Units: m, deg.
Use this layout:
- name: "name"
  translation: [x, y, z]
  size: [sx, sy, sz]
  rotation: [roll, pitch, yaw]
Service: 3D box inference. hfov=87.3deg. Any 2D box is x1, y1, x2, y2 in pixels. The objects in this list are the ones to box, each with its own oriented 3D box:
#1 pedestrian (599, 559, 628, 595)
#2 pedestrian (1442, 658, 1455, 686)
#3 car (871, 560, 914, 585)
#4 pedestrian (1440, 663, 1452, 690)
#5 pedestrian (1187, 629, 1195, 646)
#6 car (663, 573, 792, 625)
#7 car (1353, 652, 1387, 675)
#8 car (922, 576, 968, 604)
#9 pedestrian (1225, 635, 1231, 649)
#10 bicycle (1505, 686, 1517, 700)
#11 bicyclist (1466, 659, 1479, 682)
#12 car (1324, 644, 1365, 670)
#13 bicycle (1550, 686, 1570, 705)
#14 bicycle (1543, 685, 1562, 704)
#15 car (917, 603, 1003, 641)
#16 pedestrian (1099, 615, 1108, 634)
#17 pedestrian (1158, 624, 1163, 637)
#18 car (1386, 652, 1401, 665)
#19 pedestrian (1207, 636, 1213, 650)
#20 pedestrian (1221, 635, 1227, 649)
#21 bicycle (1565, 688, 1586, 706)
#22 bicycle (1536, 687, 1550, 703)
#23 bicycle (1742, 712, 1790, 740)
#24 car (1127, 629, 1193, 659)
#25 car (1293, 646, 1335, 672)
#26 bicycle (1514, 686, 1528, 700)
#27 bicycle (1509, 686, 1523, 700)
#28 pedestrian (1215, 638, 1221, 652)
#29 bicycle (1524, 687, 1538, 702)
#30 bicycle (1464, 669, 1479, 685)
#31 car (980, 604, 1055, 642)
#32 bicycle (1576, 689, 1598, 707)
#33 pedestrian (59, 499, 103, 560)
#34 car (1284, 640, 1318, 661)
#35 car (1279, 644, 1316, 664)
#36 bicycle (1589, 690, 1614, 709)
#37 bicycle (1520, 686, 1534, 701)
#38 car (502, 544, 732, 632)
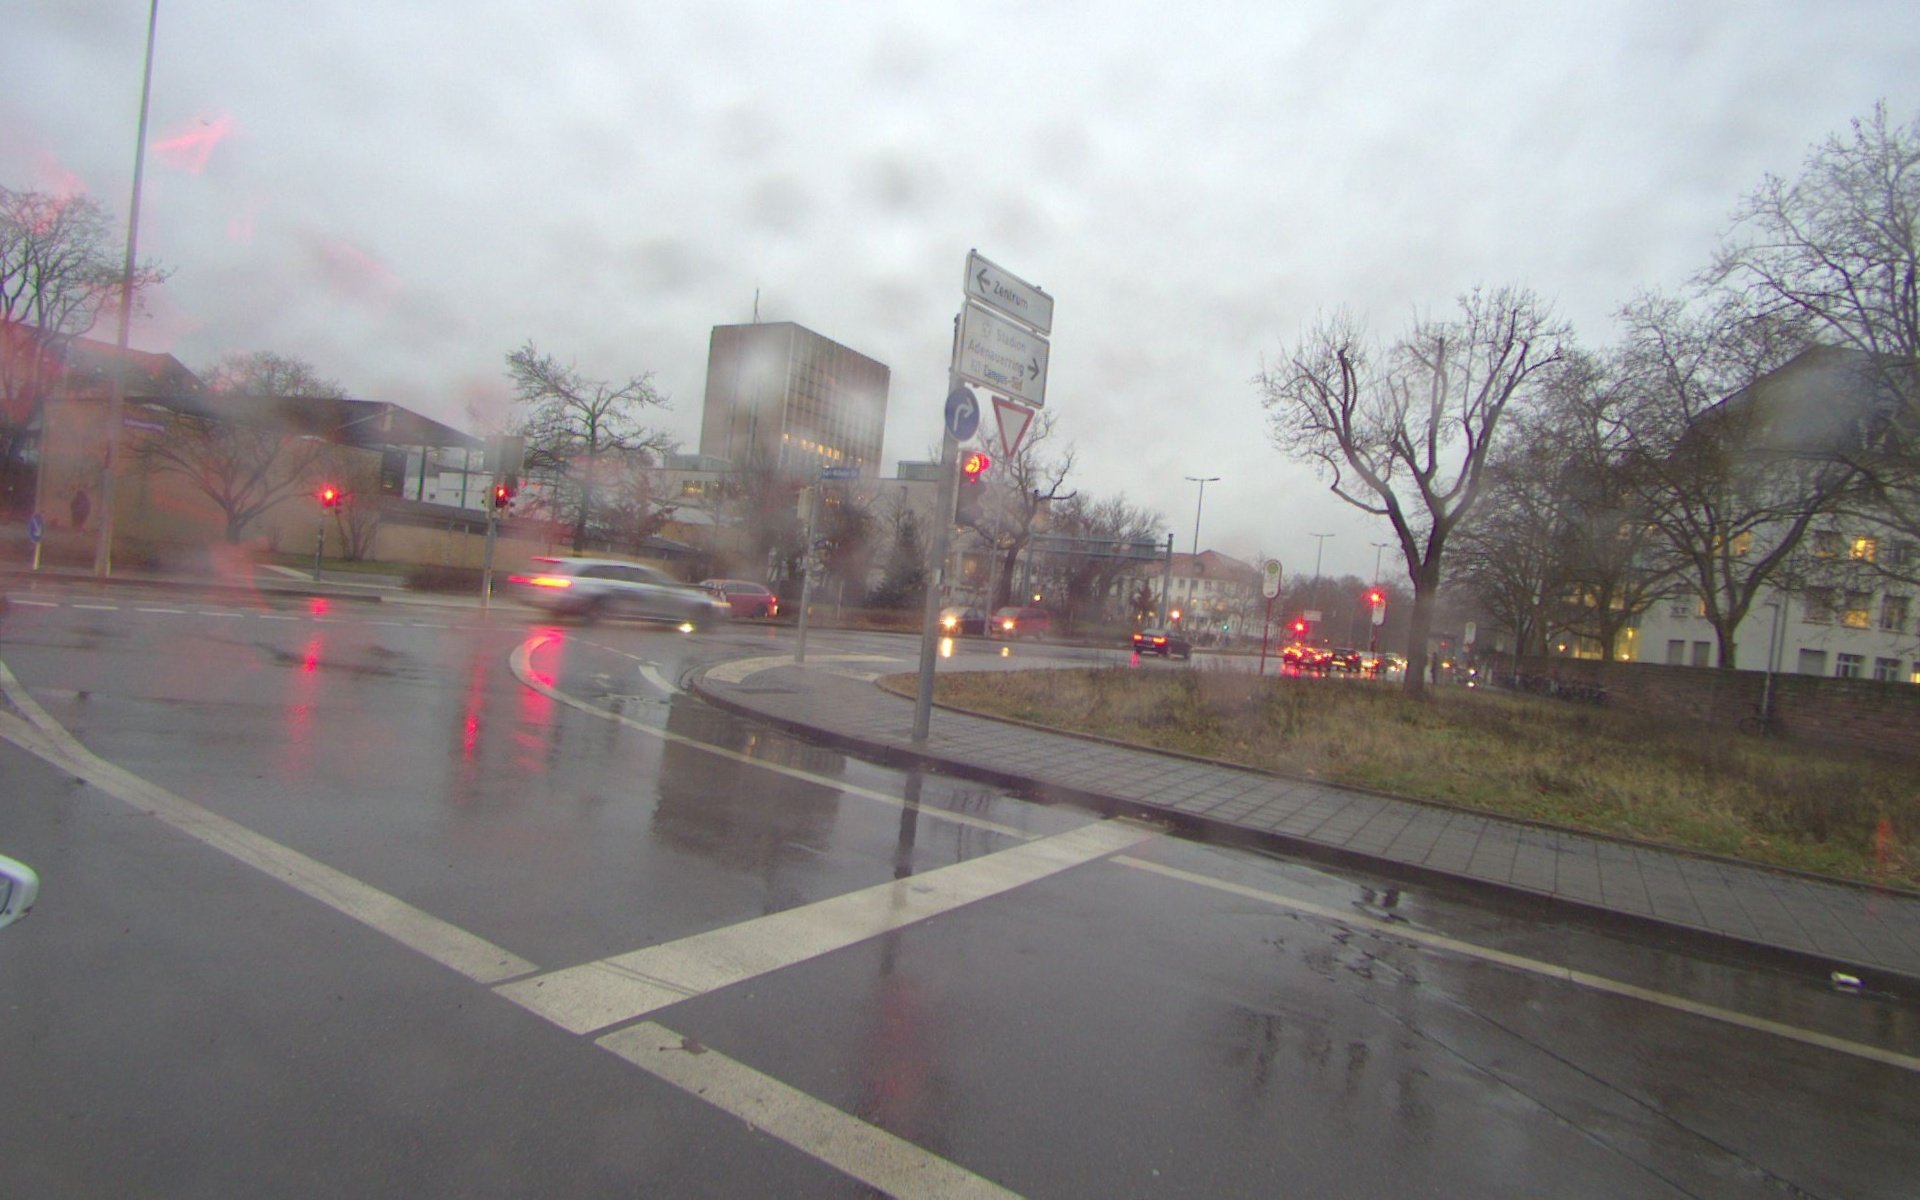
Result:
- name: "pedestrian"
  translation: [-17.162, -1.140, 49.811]
  size: [0.781, 1.624, 0.962]
  rotation: [8, 2, 33]
- name: "pedestrian"
  translation: [36.648, 5.384, 75.494]
  size: [0.557, 2.040, 0.595]
  rotation: [8, 2, 33]
- name: "car"
  translation: [-7.113, -2.913, 106.439]
  size: [2.014, 2.102, 4.892]
  rotation: [6, 0, 30]
- name: "pedestrian"
  translation: [30.150, 4.735, 62.414]
  size: [0.462, 1.623, 0.486]
  rotation: [7, -1, 25]
- name: "pedestrian"
  translation: [23.367, 3.785, 101.824]
  size: [0.411, 1.725, 0.430]
  rotation: [8, 3, 44]
- name: "car"
  translation: [-8.394, -0.005, 36.644]
  size: [1.784, 1.496, 4.411]
  rotation: [6, 0, 37]
- name: "car"
  translation: [34.264, 5.290, 84.007]
  size: [1.811, 1.710, 4.311]
  rotation: [6, 0, 32]
- name: "car"
  translation: [-1.488, -1.002, 103.151]
  size: [2.014, 2.452, 5.326]
  rotation: [6, 0, 30]
- name: "pedestrian"
  translation: [32.755, 5.129, 123.044]
  size: [0.404, 1.713, 0.427]
  rotation: [7, 2, 28]
- name: "bicycle"
  translation: [34.848, 5.868, 63.622]
  size: [0.387, 0.795, 1.532]
  rotation: [7, -2, 20]
- name: "bicyclist"
  translation: [38.608, 5.333, 75.806]
  size: [0.599, 1.660, 0.453]
  rotation: [7, -1, 19]
- name: "car"
  translation: [29.588, 4.412, 77.334]
  size: [1.812, 1.710, 4.311]
  rotation: [6, -1, 34]
- name: "bicycle"
  translation: [31.354, 4.981, 52.552]
  size: [0.387, 0.868, 1.532]
  rotation: [7, -2, 15]
- name: "bicycle"
  translation: [31.839, 5.076, 54.083]
  size: [0.387, 0.927, 1.532]
  rotation: [7, -2, 15]
- name: "car"
  translation: [0.060, 1.082, 48.488]
  size: [1.784, 1.496, 4.411]
  rotation: [6, 0, 37]
- name: "pedestrian"
  translation: [13.637, 2.360, 95.593]
  size: [0.411, 1.725, 0.430]
  rotation: [8, 3, 44]
- name: "pedestrian"
  translation: [20.989, 3.163, 105.177]
  size: [0.258, 1.364, 0.289]
  rotation: [8, 2, 31]
- name: "car"
  translation: [69.838, 9.393, 161.981]
  size: [1.834, 1.783, 3.993]
  rotation: [7, 1, 27]
- name: "pedestrian"
  translation: [31.493, 5.412, 126.686]
  size: [0.404, 1.713, 0.427]
  rotation: [7, 2, 28]
- name: "pedestrian"
  translation: [32.969, 5.257, 125.664]
  size: [0.404, 1.713, 0.561]
  rotation: [7, 2, 28]
- name: "bicycle"
  translation: [31.036, 4.877, 50.740]
  size: [0.343, 0.848, 1.493]
  rotation: [7, -2, 13]
- name: "bicycle"
  translation: [32.411, 5.292, 55.949]
  size: [0.387, 0.795, 1.607]
  rotation: [7, -2, 22]
- name: "bicycle"
  translation: [28.199, 4.399, 35.222]
  size: [0.387, 0.834, 1.386]
  rotation: [7, -2, -4]
- name: "car"
  translation: [11.033, 2.432, 55.288]
  size: [1.907, 1.318, 4.687]
  rotation: [6, 0, 32]
- name: "car"
  translation: [25.045, 4.183, 71.120]
  size: [1.811, 1.602, 4.126]
  rotation: [6, 0, 33]
- name: "bicycle"
  translation: [33.827, 5.616, 60.659]
  size: [0.387, 0.795, 1.532]
  rotation: [7, -2, 20]
- name: "bicycle"
  translation: [34.348, 5.744, 62.148]
  size: [0.387, 0.795, 1.532]
  rotation: [7, -2, 20]
- name: "pedestrian"
  translation: [31.956, 5.534, 124.502]
  size: [0.404, 1.713, 0.427]
  rotation: [7, 2, 28]
- name: "bicycle"
  translation: [32.838, 5.406, 57.862]
  size: [0.387, 0.795, 1.532]
  rotation: [7, -2, 19]
- name: "bicycle"
  translation: [38.543, 5.812, 75.793]
  size: [0.599, 1.181, 1.682]
  rotation: [7, -2, 19]
- name: "car"
  translation: [3.608, 1.468, 62.384]
  size: [2.016, 1.903, 5.320]
  rotation: [6, 0, 35]
- name: "bicycle"
  translation: [30.546, 4.770, 48.996]
  size: [0.387, 0.795, 1.533]
  rotation: [7, -2, 14]
- name: "pedestrian"
  translation: [-32.999, -2.657, 37.766]
  size: [0.880, 2.141, 0.884]
  rotation: [7, 2, 28]
- name: "car"
  translation: [30.202, 4.517, 89.084]
  size: [1.811, 1.602, 4.127]
  rotation: [6, 0, 32]
- name: "car"
  translation: [26.229, 4.183, 78.214]
  size: [1.674, 1.318, 3.755]
  rotation: [6, 0, 34]
- name: "bicycle"
  translation: [30.272, 4.673, 47.472]
  size: [0.352, 0.795, 1.415]
  rotation: [7, -2, 8]
- name: "bicycle"
  translation: [33.321, 5.489, 59.141]
  size: [0.387, 0.795, 1.532]
  rotation: [7, -2, 20]
- name: "car"
  translation: [-7.885, -0.223, 23.490]
  size: [1.911, 1.571, 4.676]
  rotation: [6, 0, 40]
